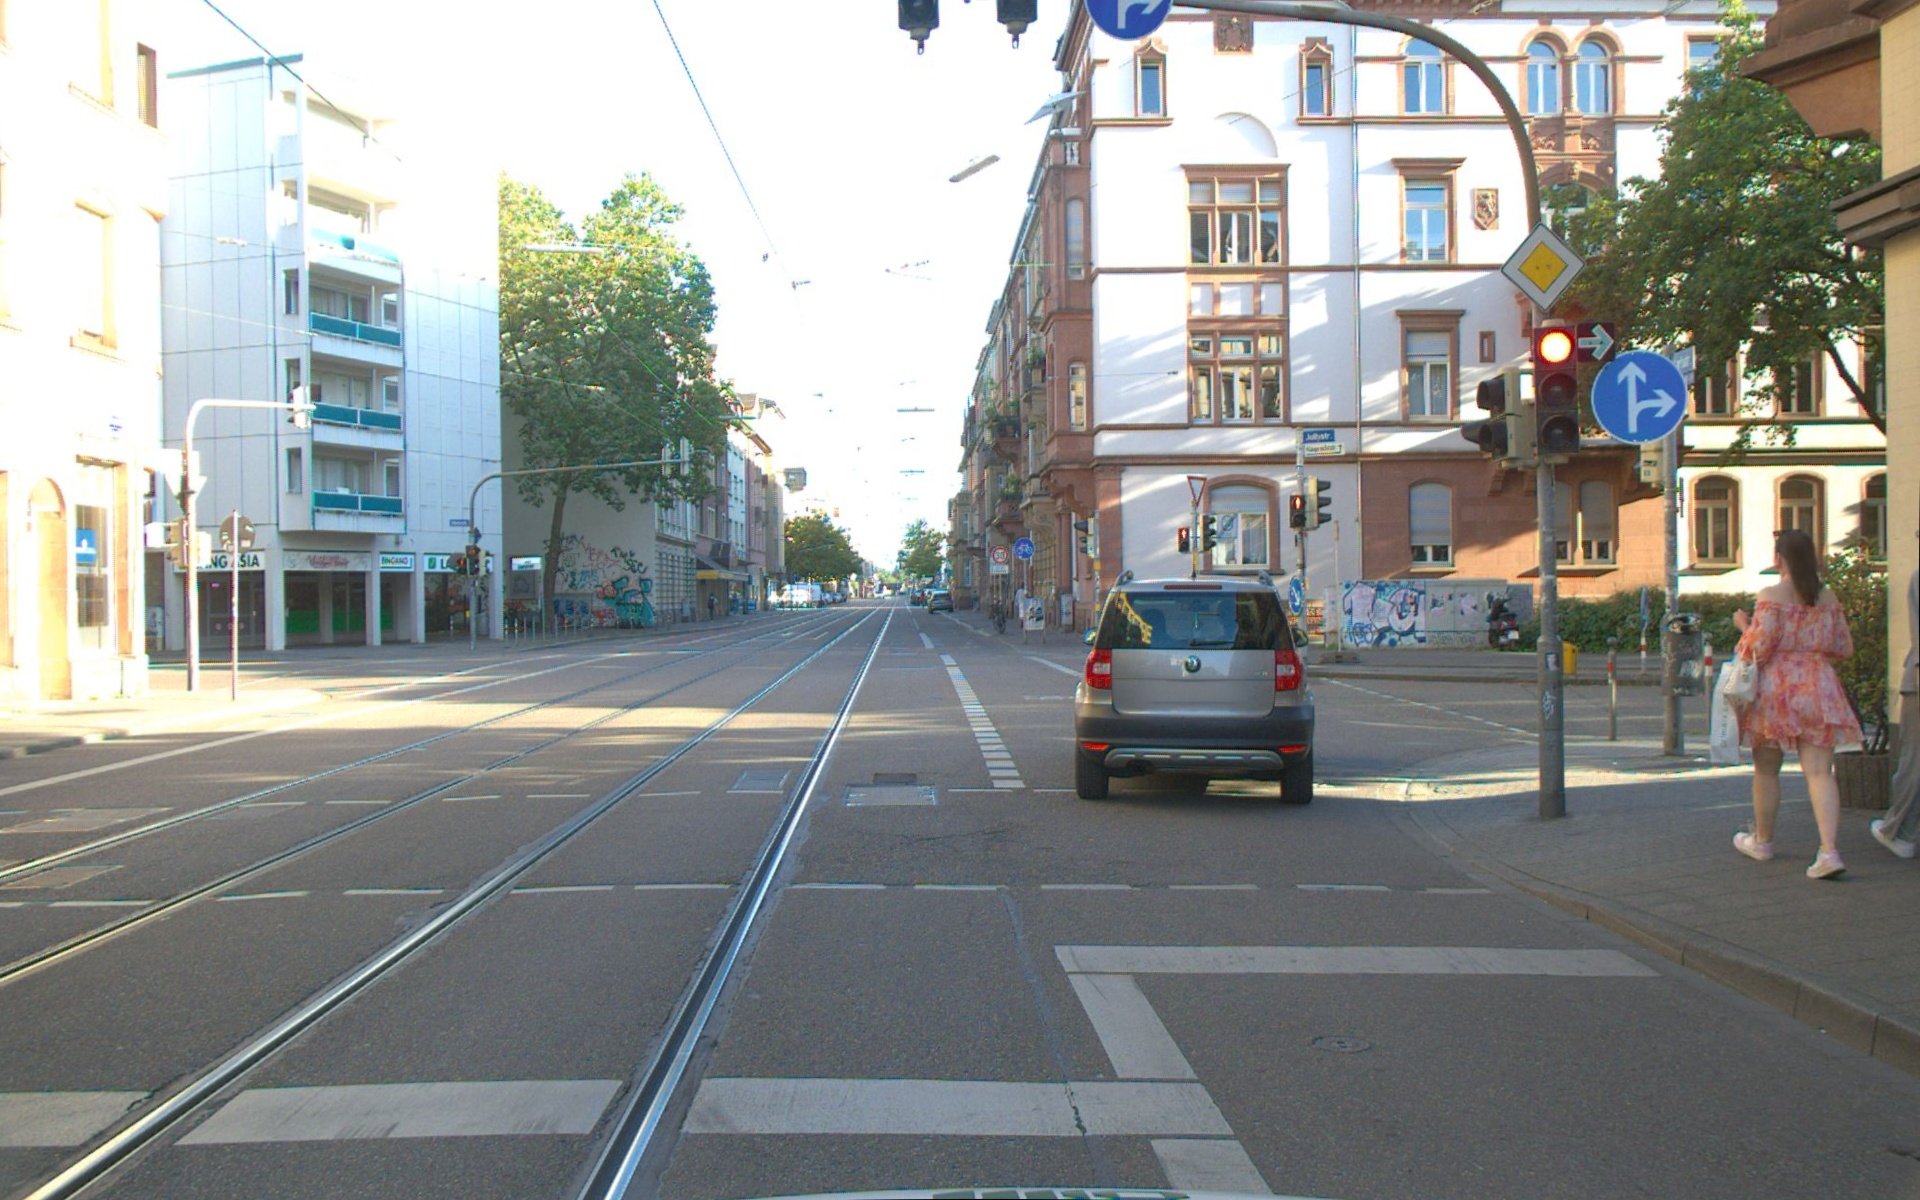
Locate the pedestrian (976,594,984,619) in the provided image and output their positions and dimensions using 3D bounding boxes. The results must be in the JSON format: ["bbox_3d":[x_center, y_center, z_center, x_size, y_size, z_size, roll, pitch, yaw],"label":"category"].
[{"bbox_3d":[1.459,0.478,121.444,0.533,1.811,0.749,-1,0,-1],"label":"pedestrian"}]

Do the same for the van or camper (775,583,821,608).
[{"bbox_3d":[-17.307,-0.448,176.616,4.592,2.608,1.977,0,-1,-33],"label":"van or camper"}]

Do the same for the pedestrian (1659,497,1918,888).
[{"bbox_3d":[4.185,0.443,8.407,0.789,1.831,0.761,-5,1,-4],"label":"pedestrian"}]

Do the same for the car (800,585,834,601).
[{"bbox_3d":[-18.348,-0.918,212.185,3.940,2.049,1.983,-1,0,-27],"label":"car"}]

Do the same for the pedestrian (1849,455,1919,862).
[{"bbox_3d":[4.870,0.262,7.958,0.677,1.941,0.670,-5,1,-4],"label":"pedestrian"}]

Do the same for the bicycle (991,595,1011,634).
[{"bbox_3d":[1.433,0.487,57.866,0.640,1.347,2.177,-1,0,0],"label":"bicycle"}]

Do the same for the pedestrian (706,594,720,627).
[{"bbox_3d":[-13.392,0.560,89.622,0.687,1.759,0.647,-1,0,-2],"label":"pedestrian"}]

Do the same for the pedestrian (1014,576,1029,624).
[{"bbox_3d":[2.352,-0.009,63.621,0.533,1.811,0.504,-1,0,-1],"label":"pedestrian"}]

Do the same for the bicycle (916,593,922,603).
[{"bbox_3d":[-4.560,-0.199,184.398,0.563,1.048,1.894,-1,0,-1],"label":"bicycle"}]

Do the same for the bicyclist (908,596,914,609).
[{"bbox_3d":[-5.613,0.245,189.419,0.563,1.477,0.645,-1,0,-1],"label":"bicyclist"}]

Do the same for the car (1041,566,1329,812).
[{"bbox_3d":[1.904,0.597,13.364,1.951,1.646,4.003,1,0,11],"label":"car"}]

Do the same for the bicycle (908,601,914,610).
[{"bbox_3d":[-5.599,0.627,189.195,0.563,1.048,1.894,-1,0,-1],"label":"bicycle"}]

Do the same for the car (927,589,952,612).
[{"bbox_3d":[-1.561,0.000,127.136,1.910,1.713,3.999,-1,0,-1],"label":"car"}]

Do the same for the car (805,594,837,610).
[{"bbox_3d":[-18.964,0.243,225.773,3.940,2.049,1.983,-1,0,-27],"label":"car"}]

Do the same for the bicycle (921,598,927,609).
[{"bbox_3d":[-3.418,0.338,158.536,0.563,1.048,1.894,-1,0,-1],"label":"bicycle"}]

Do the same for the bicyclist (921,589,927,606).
[{"bbox_3d":[-3.428,-0.223,158.531,0.563,1.581,0.595,-1,0,-1],"label":"bicyclist"}]

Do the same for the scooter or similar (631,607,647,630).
[{"bbox_3d":[-15.099,0.862,77.790,0.506,1.076,1.477,-1,0,-4],"label":"scooter or similar"}]

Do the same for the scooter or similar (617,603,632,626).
[{"bbox_3d":[-15.753,0.678,77.730,0.506,1.064,1.477,-1,0,-4],"label":"scooter or similar"}]

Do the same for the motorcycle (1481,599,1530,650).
[{"bbox_3d":[12.432,0.541,37.747,0.704,1.037,2.289,-1,2,9],"label":"motorcycle"}]
